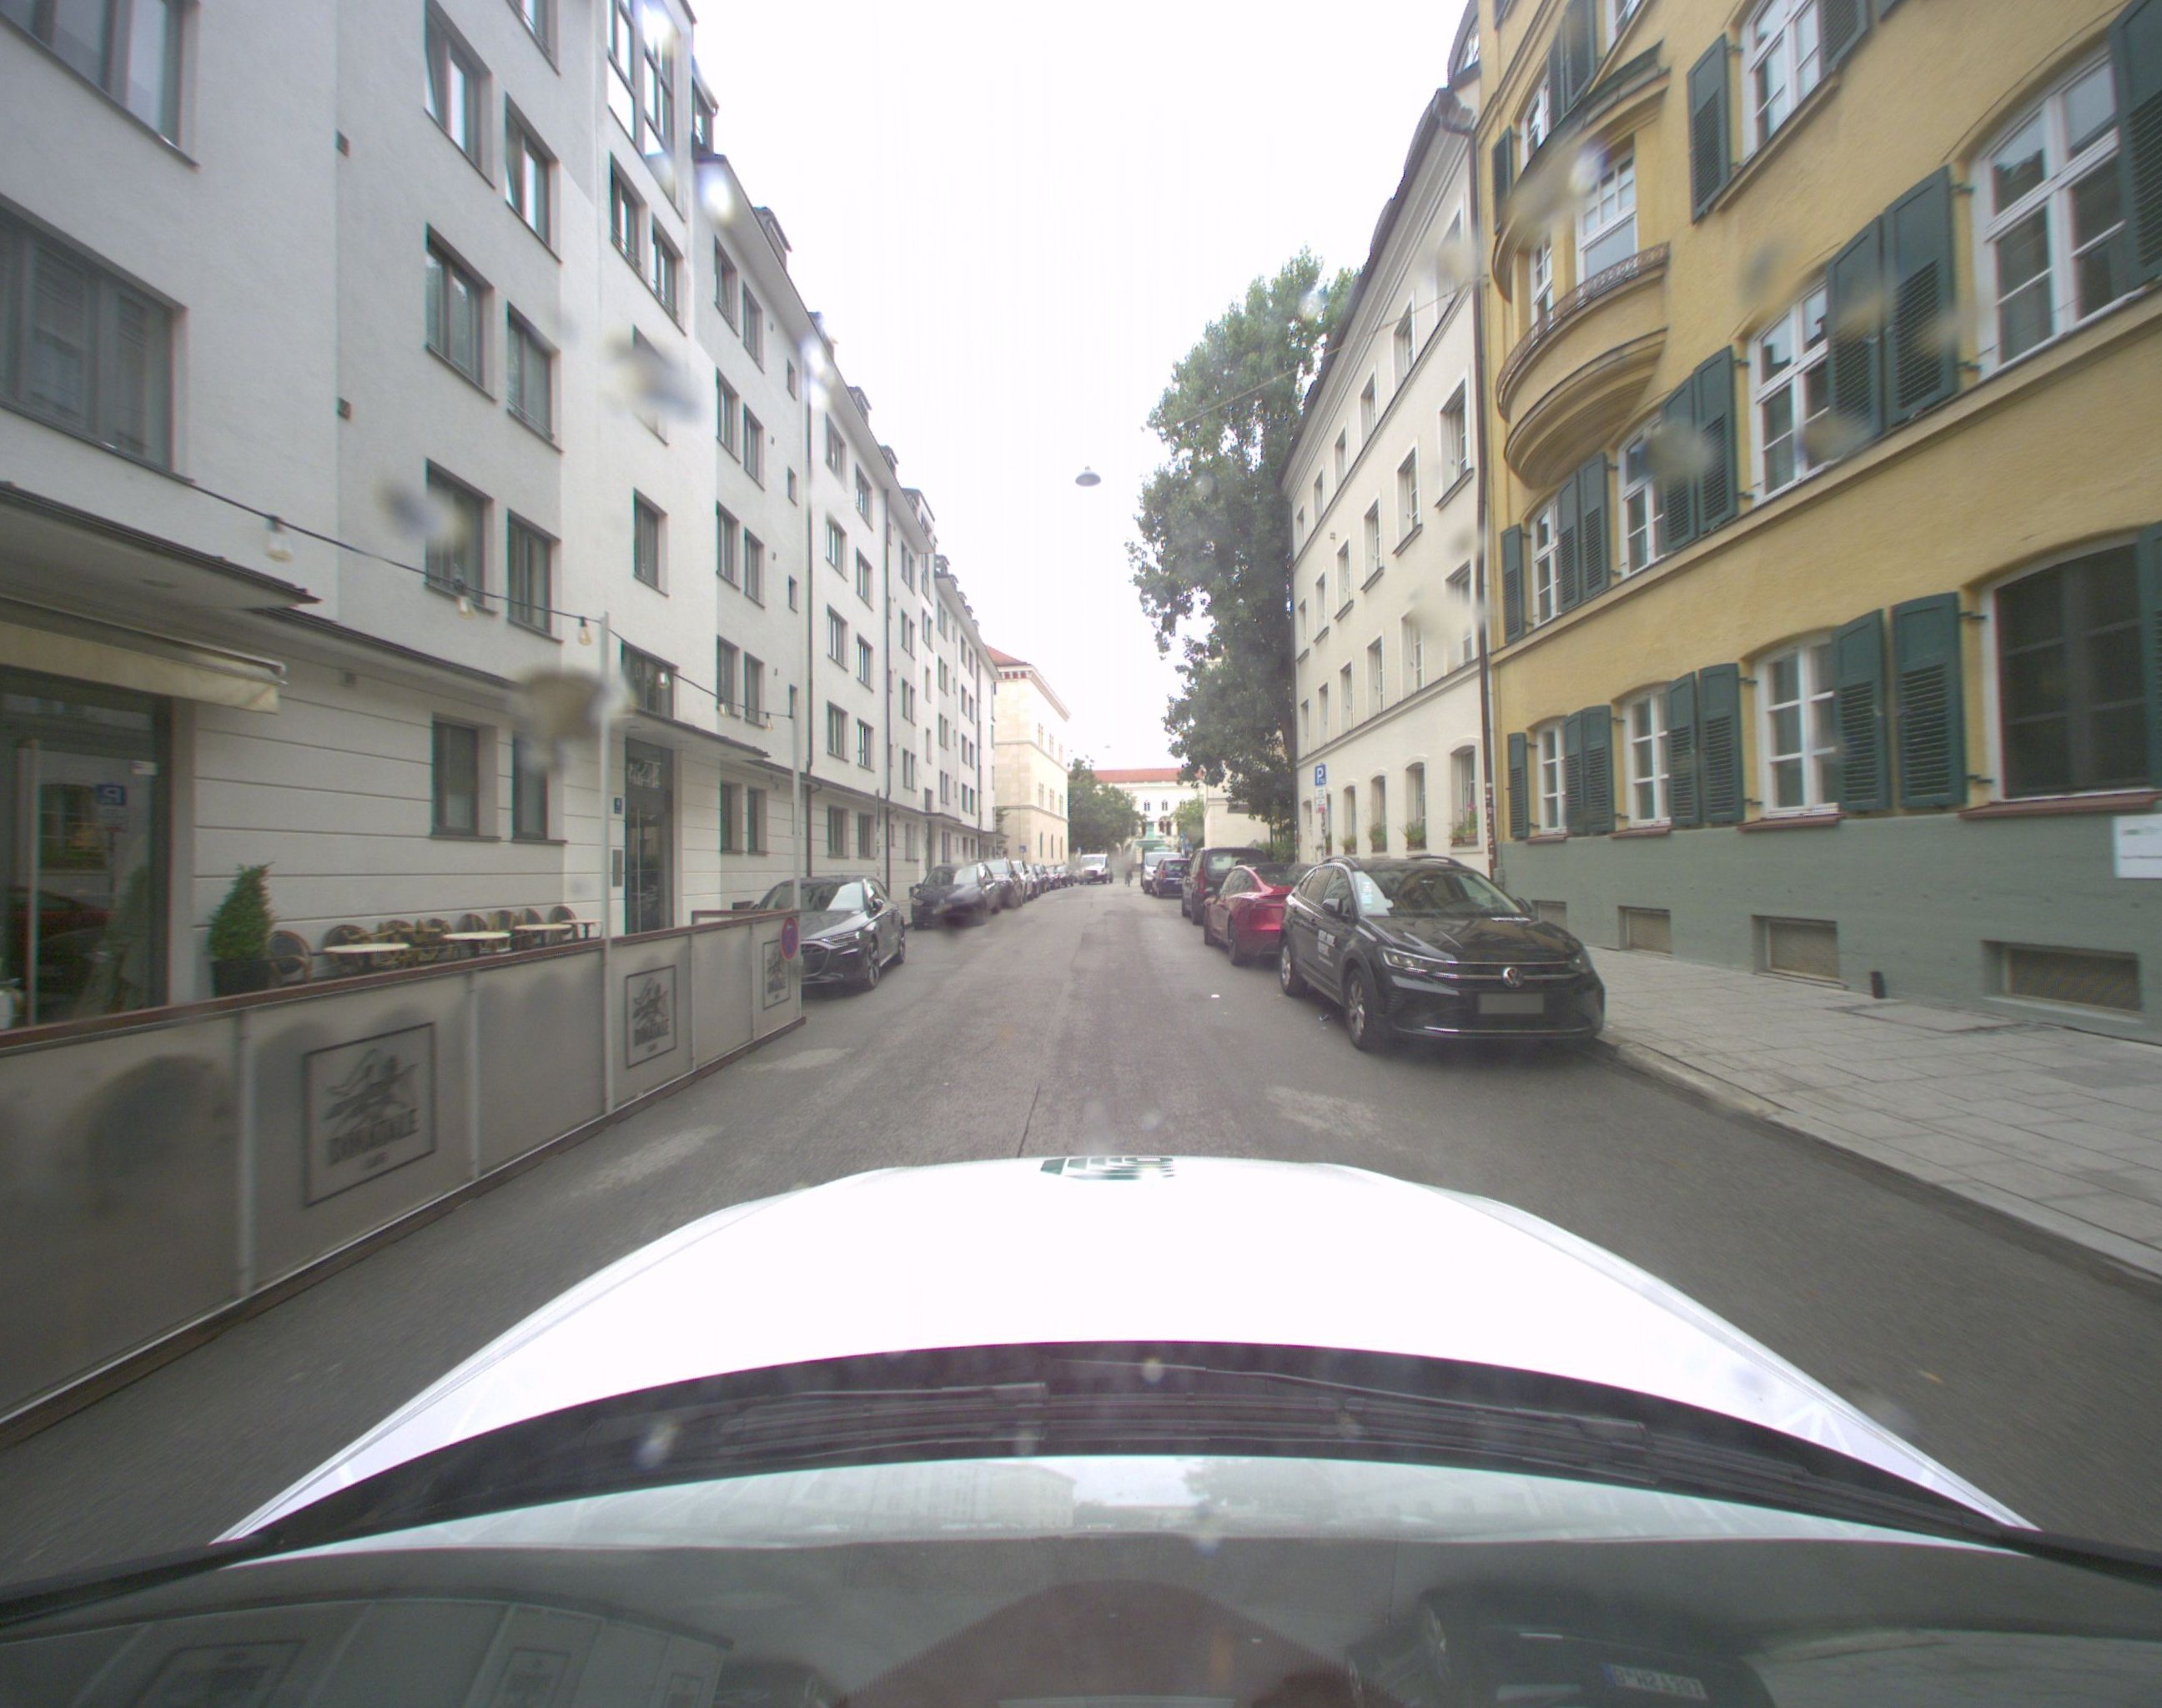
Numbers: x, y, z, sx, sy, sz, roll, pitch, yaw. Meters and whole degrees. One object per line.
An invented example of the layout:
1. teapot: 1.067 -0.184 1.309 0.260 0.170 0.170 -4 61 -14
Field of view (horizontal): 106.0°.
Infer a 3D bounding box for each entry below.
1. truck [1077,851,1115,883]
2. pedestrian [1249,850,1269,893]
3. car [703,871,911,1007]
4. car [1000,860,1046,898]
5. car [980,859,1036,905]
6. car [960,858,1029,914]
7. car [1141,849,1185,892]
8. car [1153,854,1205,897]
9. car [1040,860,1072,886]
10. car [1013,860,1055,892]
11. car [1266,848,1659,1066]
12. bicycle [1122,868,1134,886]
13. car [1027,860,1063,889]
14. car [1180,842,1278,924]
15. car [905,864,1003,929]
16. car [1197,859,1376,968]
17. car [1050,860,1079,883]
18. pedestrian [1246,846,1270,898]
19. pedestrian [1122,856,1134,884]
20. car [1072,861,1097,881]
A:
1. truck: 1.206 0.977 61.558 2.109 2.247 6.197 -2 -1 7
2. pedestrian: 8.647 0.854 39.513 0.667 1.980 0.709 -5 -2 2
3. car: -3.508 0.991 11.258 1.759 1.410 4.147 -2 -1 -5
4. car: -2.665 1.133 38.092 1.700 1.609 3.863 -2 -1 1
5. car: -2.814 1.058 31.964 1.700 1.609 3.863 -2 -1 1
6. car: -2.771 0.996 26.749 1.700 1.609 3.863 -2 -1 1
7. car: 3.935 0.789 39.710 1.844 1.919 4.772 -2 -1 3
8. car: 3.988 0.859 33.827 1.804 1.614 4.158 -2 -1 3
9. car: -1.628 1.269 54.614 1.699 1.609 3.867 -3 -1 4
10. car: -2.498 1.163 44.063 1.699 1.609 3.866 -3 -1 4
11. car: 3.063 0.721 7.643 1.805 1.465 4.248 0 -1 2
12. bicycle: 2.972 1.436 51.438 0.673 1.095 1.760 -2 -2 2
13. car: -2.127 1.235 49.616 1.699 1.609 3.867 -3 -1 4
14. car: 3.508 0.659 20.040 1.804 1.797 4.249 0 -1 3
15. car: -3.169 1.012 21.055 1.811 1.444 3.819 -3 -1 1
16. car: 3.024 0.811 12.904 1.806 1.425 4.246 0 -1 0
17. car: -1.186 1.266 60.703 1.699 1.581 3.867 -3 -1 5
18. pedestrian: 6.946 0.703 32.016 0.667 1.980 0.709 -5 -2 2
19. pedestrian: 2.963 1.023 51.447 0.639 1.714 0.843 -2 -2 2
20. car: 0.336 1.429 69.220 1.699 1.581 3.867 -3 -1 5
